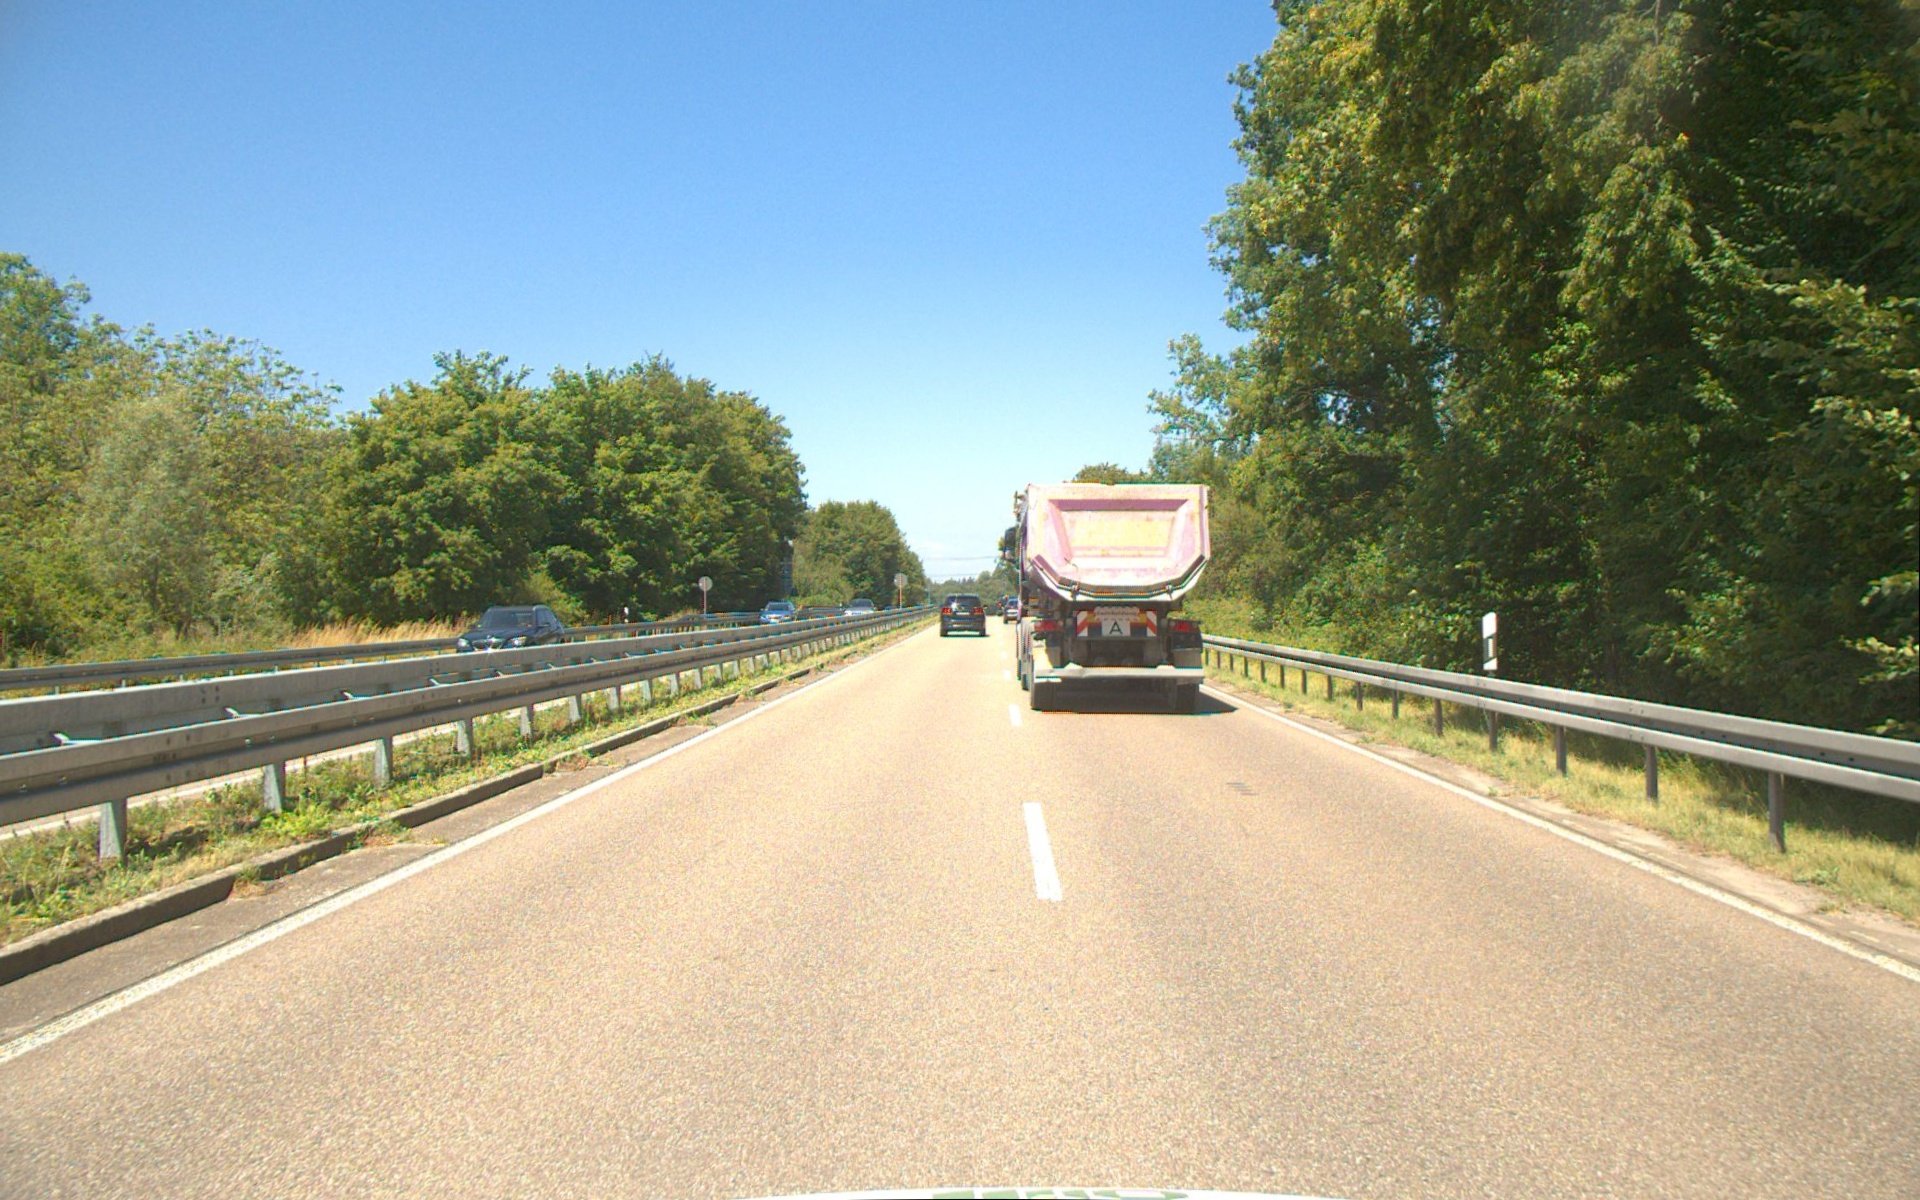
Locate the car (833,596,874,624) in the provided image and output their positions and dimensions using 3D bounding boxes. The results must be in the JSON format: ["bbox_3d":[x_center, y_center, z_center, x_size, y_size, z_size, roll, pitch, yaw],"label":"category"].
[{"bbox_3d":[-6.689,0.598,104.258,1.952,1.660,4.554,-2,0,3],"label":"car"}]

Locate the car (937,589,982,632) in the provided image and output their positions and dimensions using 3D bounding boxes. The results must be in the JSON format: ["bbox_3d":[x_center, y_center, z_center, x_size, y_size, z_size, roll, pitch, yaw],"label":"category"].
[{"bbox_3d":[-0.012,0.467,69.377,1.819,1.701,3.999,1,-2,0],"label":"car"}]

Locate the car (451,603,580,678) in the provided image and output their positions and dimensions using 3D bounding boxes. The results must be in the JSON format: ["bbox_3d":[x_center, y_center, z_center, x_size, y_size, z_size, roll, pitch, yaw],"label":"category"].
[{"bbox_3d":[-10.722,0.943,40.223,1.742,1.648,4.506,-2,0,2],"label":"car"}]

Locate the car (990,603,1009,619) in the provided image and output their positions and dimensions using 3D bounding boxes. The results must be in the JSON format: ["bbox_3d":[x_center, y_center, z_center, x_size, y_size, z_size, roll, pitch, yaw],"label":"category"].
[{"bbox_3d":[3.749,1.059,157.458,1.571,1.445,3.521,-2,0,-1],"label":"car"}]

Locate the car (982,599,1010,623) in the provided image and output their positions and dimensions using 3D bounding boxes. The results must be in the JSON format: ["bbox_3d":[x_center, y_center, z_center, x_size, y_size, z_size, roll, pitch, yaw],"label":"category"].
[{"bbox_3d":[2.247,0.680,104.012,1.571,1.445,3.521,-2,0,-1],"label":"car"}]

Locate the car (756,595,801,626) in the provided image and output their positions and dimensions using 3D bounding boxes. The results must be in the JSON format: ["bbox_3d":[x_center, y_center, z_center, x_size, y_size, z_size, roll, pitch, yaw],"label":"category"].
[{"bbox_3d":[-9.903,0.564,90.675,1.775,1.570,4.929,-2,0,1],"label":"car"}]

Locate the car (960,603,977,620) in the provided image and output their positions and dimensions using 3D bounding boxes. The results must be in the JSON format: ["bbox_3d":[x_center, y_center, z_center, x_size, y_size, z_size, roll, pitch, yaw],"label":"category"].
[{"bbox_3d":[0.936,1.285,180.053,1.819,1.748,3.999,1,-2,0],"label":"car"}]

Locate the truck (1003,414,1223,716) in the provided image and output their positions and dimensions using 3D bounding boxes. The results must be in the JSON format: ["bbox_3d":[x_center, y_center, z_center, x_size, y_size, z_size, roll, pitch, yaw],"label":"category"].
[{"bbox_3d":[2.196,-0.472,28.210,2.664,3.999,12.370,0,0,0],"label":"truck"}]

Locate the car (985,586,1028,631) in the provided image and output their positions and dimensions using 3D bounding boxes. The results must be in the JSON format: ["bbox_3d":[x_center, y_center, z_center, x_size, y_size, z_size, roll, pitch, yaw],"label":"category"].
[{"bbox_3d":[2.303,0.423,82.516,1.953,2.113,3.999,-2,0,-1],"label":"car"}]
